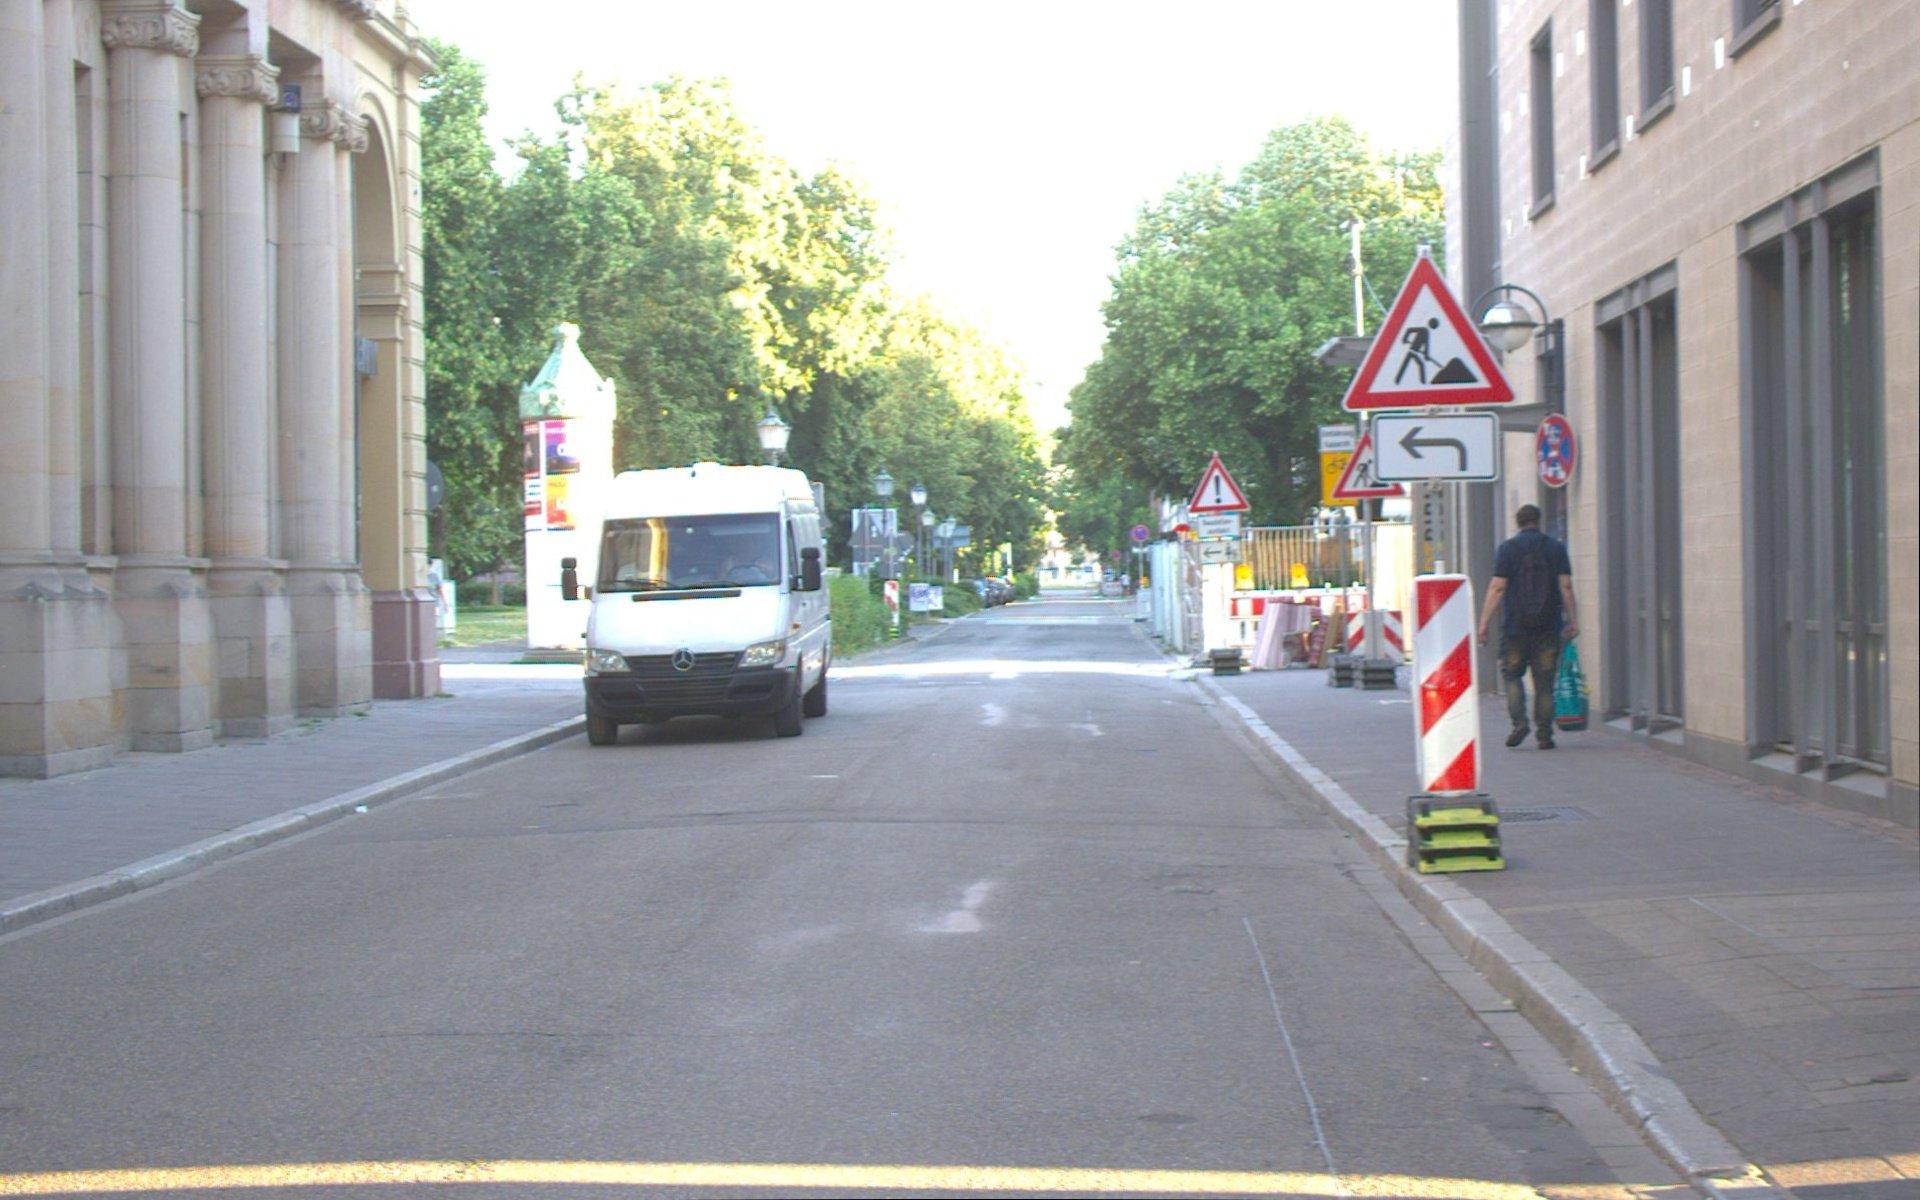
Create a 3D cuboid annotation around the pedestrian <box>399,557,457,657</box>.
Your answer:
[{"bbox_3d":[-9.221,0.113,59.602,0.746,1.696,0.702,-2,0,9],"label":"pedestrian"}]

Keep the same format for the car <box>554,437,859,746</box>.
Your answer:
[{"bbox_3d":[-2.273,-0.114,32.753,1.996,2.503,6.469,-4,1,2],"label":"car"}]

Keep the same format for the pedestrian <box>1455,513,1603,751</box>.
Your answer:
[{"bbox_3d":[4.184,0.226,25.341,0.923,1.696,0.868,-2,0,2],"label":"pedestrian"}]

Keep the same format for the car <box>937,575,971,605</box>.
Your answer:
[{"bbox_3d":[-0.283,-0.488,161.317,1.468,1.399,3.679,0,1,2],"label":"car"}]

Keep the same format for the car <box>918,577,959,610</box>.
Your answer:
[{"bbox_3d":[-0.829,-0.269,135.271,1.468,1.251,3.679,0,1,2],"label":"car"}]
